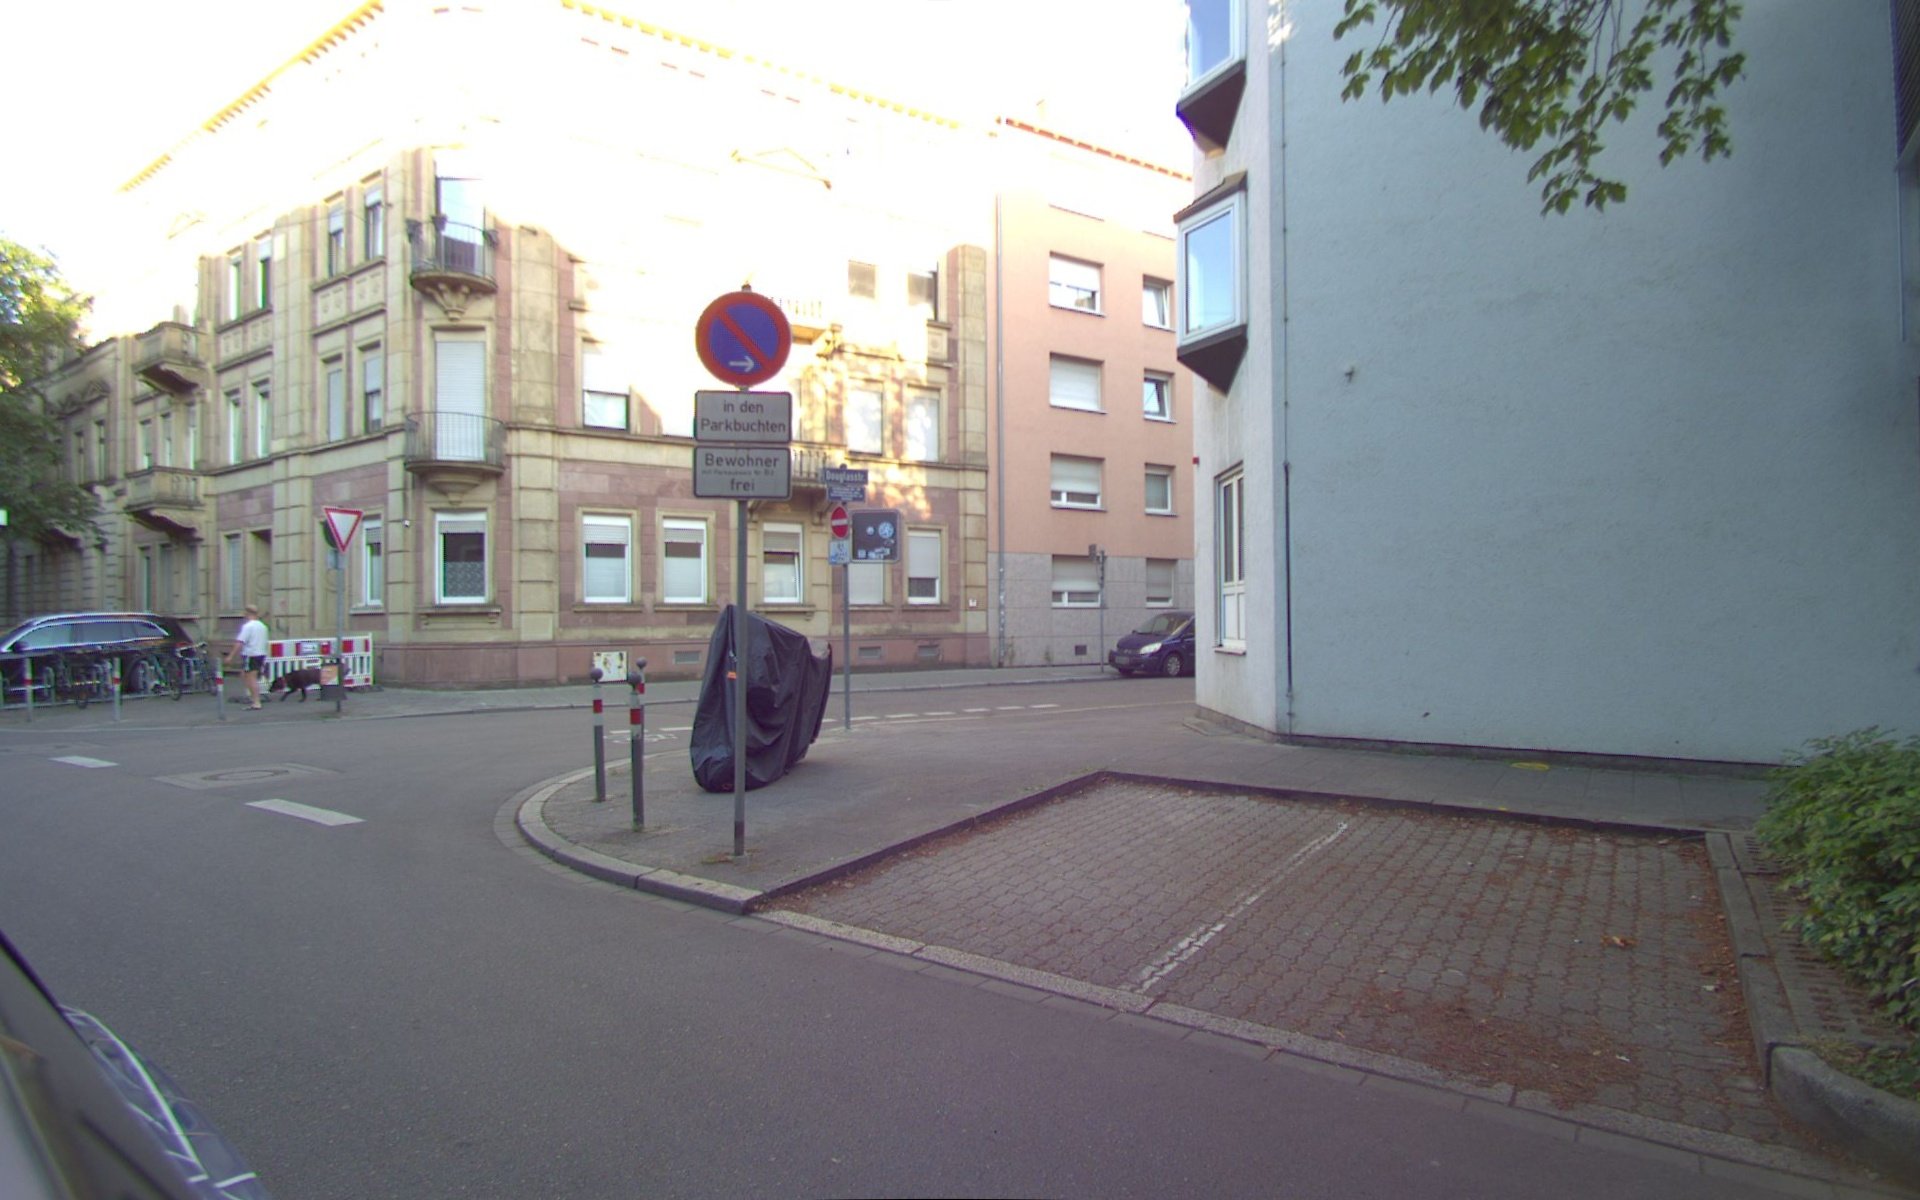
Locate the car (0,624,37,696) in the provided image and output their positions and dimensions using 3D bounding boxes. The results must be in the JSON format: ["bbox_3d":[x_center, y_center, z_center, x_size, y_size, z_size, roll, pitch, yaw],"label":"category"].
[{"bbox_3d":[-24.307,1.418,23.396,1.740,1.690,4.190,-1,-2,39],"label":"car"}]

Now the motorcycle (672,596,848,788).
[{"bbox_3d":[-1.730,0.750,9.202,0.809,1.516,2.276,-1,-1,10],"label":"motorcycle"}]

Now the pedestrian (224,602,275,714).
[{"bbox_3d":[-11.872,0.949,16.905,0.651,1.821,0.565,-2,-2,43],"label":"pedestrian"}]

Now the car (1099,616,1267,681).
[{"bbox_3d":[5.736,1.173,25.851,4.297,1.529,1.789,1,-2,-36],"label":"car"}]

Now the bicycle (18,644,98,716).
[{"bbox_3d":[-15.628,1.355,17.526,2.034,1.159,0.555,-1,-1,34],"label":"bicycle"}]

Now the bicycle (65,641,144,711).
[{"bbox_3d":[-15.275,1.332,18.055,2.034,1.159,0.555,-1,-1,34],"label":"bicycle"}]

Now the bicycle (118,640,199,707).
[{"bbox_3d":[-14.803,1.334,18.683,2.033,1.159,0.556,-1,-1,33],"label":"bicycle"}]

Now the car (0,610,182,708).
[{"bbox_3d":[-17.911,1.104,19.473,1.740,1.795,4.368,-1,-2,38],"label":"car"}]

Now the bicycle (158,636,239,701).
[{"bbox_3d":[-14.449,1.273,19.187,2.033,1.159,0.556,-1,-1,33],"label":"bicycle"}]
